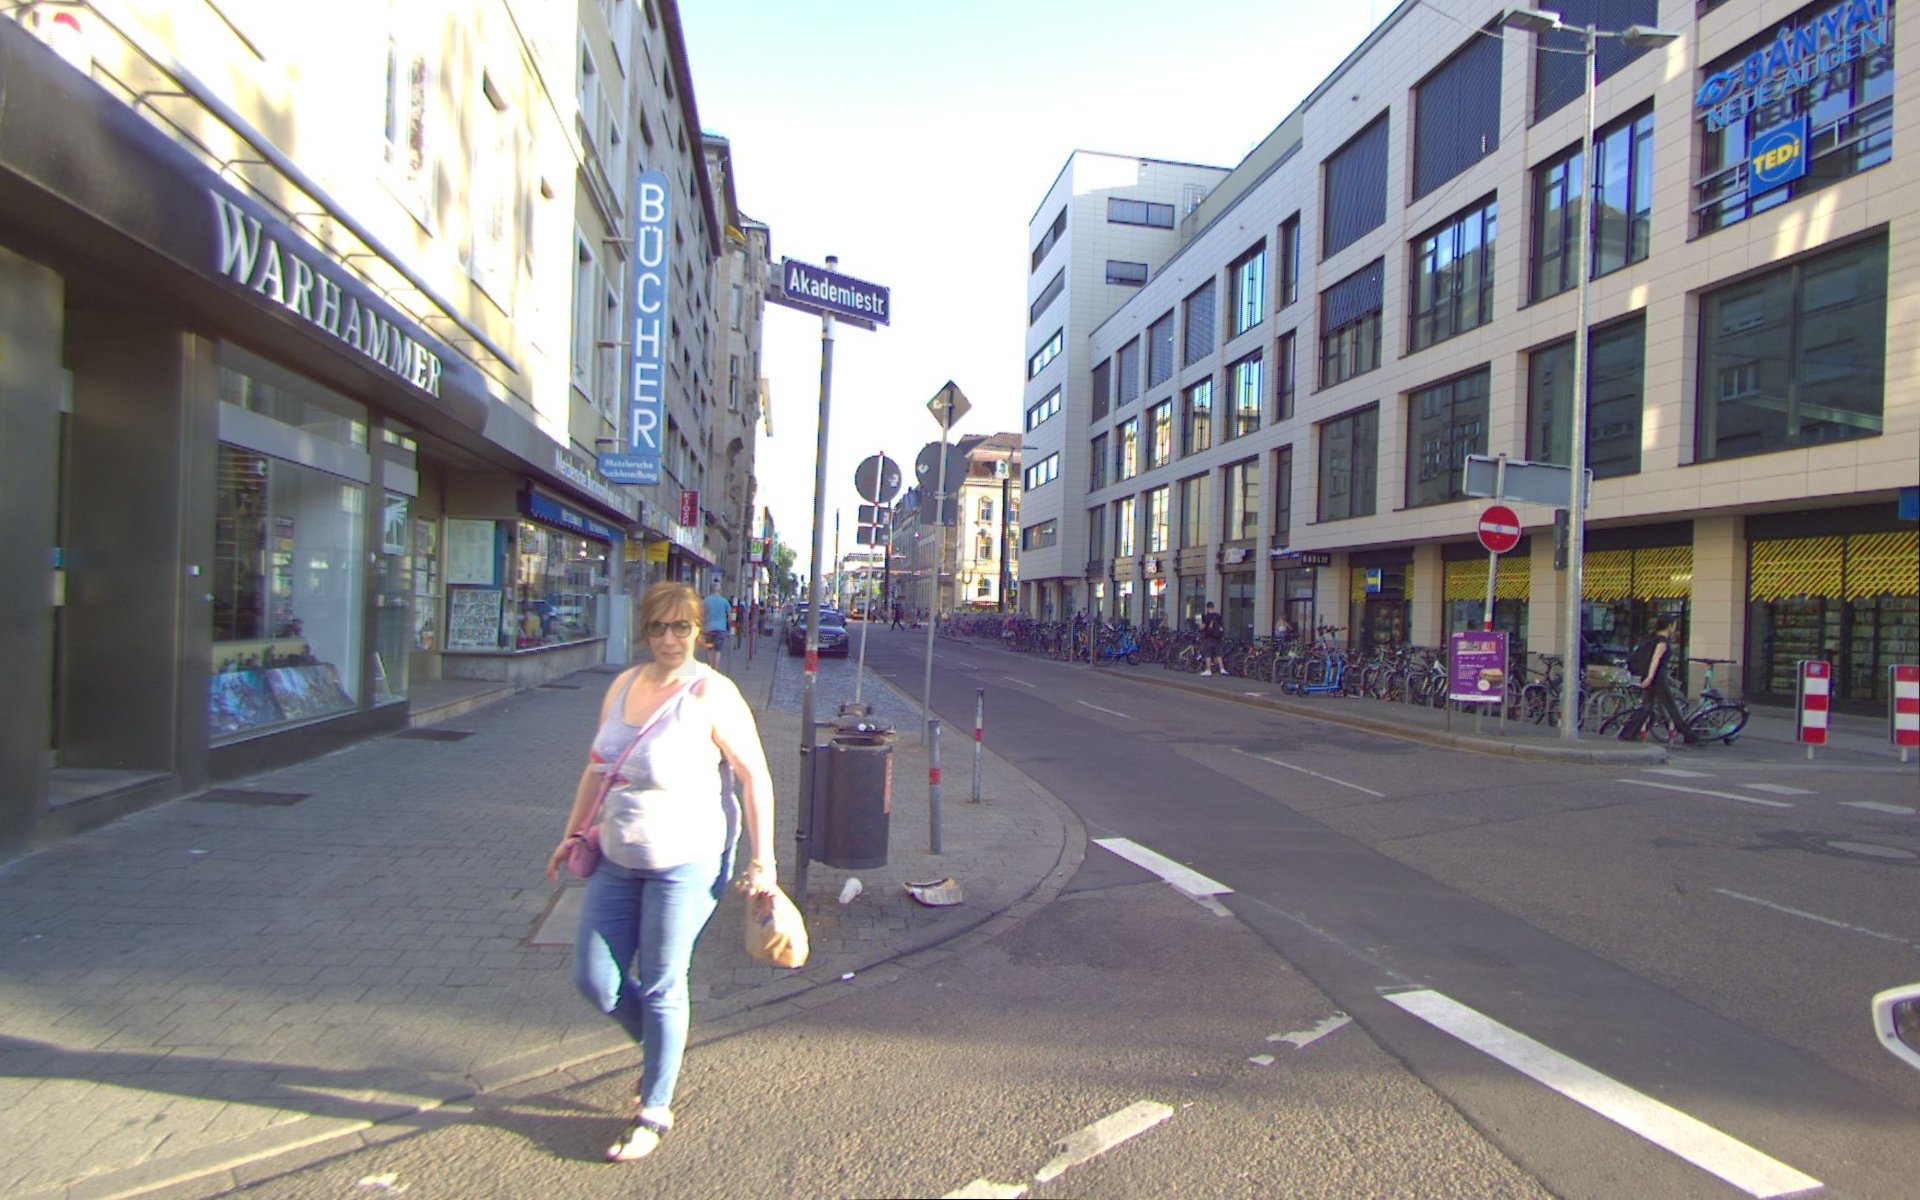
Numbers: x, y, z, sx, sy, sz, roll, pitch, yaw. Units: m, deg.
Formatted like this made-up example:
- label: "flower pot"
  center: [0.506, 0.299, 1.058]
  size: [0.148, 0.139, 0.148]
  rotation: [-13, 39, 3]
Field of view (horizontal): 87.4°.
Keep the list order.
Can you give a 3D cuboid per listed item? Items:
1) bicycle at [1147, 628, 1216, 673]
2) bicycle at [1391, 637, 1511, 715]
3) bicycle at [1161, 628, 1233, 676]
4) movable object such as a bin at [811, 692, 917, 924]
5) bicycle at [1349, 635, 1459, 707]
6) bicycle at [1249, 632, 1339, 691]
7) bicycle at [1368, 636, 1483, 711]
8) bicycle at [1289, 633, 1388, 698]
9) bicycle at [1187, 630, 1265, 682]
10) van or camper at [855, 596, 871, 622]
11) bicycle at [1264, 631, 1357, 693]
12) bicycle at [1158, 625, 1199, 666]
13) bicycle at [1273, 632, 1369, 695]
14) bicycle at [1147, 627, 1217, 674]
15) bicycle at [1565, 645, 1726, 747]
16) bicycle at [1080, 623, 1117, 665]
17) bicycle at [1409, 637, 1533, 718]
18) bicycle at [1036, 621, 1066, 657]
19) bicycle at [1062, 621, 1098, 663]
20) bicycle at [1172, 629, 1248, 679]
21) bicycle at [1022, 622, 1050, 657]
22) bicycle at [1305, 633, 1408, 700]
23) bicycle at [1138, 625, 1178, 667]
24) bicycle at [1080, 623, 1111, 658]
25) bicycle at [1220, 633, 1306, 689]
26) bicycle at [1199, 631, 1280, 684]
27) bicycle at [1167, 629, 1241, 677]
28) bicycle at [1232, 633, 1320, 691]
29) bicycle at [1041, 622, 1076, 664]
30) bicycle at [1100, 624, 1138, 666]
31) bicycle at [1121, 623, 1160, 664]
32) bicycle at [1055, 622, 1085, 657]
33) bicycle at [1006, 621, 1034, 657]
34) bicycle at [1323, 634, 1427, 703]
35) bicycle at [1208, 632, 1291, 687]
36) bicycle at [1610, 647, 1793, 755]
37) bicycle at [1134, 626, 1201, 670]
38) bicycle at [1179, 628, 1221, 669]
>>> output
- label: "bicycle"
  center: [6.727, 1.532, 30.499]
  size: [1.944, 1.271, 0.512]
  rotation: [3, 0, -12]
- label: "bicycle"
  center: [8.580, 1.330, 17.574]
  size: [1.944, 1.271, 0.512]
  rotation: [3, 0, -12]
- label: "bicycle"
  center: [6.857, 1.501, 29.057]
  size: [1.944, 1.271, 0.512]
  rotation: [3, 0, -12]
- label: "movable object such as a bin"
  center: [-0.484, 1.025, 5.086]
  size: [0.354, 1.077, 0.355]
  rotation: [2, -1, 38]
- label: "bicycle"
  center: [8.416, 1.348, 19.049]
  size: [1.944, 1.271, 0.512]
  rotation: [3, 0, -12]
- label: "bicycle"
  center: [7.709, 1.420, 23.192]
  size: [1.944, 1.271, 0.512]
  rotation: [3, 0, -12]
- label: "bicycle"
  center: [8.476, 1.338, 18.283]
  size: [1.944, 1.271, 0.512]
  rotation: [3, 0, -12]
- label: "bicycle"
  center: [8.006, 1.384, 21.260]
  size: [1.944, 1.271, 0.512]
  rotation: [3, 0, -12]
- label: "bicycle"
  center: [7.069, 1.487, 26.739]
  size: [1.944, 1.271, 0.512]
  rotation: [3, 0, -12]
- label: "van or camper"
  center: [-12.990, 1.231, 134.960]
  size: [1.962, 3.317, 5.160]
  rotation: [2, -1, -4]
- label: "bicycle"
  center: [7.856, 1.390, 22.526]
  size: [1.944, 1.271, 0.512]
  rotation: [3, 0, -12]
- label: "bicycle"
  center: [7.273, 1.505, 33.555]
  size: [0.504, 1.271, 1.974]
  rotation: [3, 0, -12]
- label: "bicycle"
  center: [7.854, 1.383, 21.848]
  size: [1.944, 1.271, 0.512]
  rotation: [3, 0, -12]
- label: "bicycle"
  center: [6.583, 1.495, 29.735]
  size: [1.944, 1.271, 0.512]
  rotation: [3, 0, -12]
- label: "bicycle"
  center: [9.296, 1.299, 13.617]
  size: [2.010, 1.271, 0.581]
  rotation: [3, 0, -14]
- label: "bicycle"
  center: [4.533, 1.418, 33.063]
  size: [0.504, 1.271, 1.974]
  rotation: [3, 0, -12]
- label: "bicycle"
  center: [8.654, 1.309, 17.006]
  size: [1.944, 1.271, 0.512]
  rotation: [3, 0, -12]
- label: "bicycle"
  center: [3.492, 1.489, 38.620]
  size: [0.504, 1.271, 1.974]
  rotation: [3, 0, -12]
- label: "bicycle"
  center: [3.909, 1.359, 32.891]
  size: [0.504, 1.271, 1.974]
  rotation: [3, 0, -12]
- label: "bicycle"
  center: [6.844, 1.484, 27.455]
  size: [1.944, 1.271, 0.512]
  rotation: [3, 0, -12]
- label: "bicycle"
  center: [2.897, 1.498, 38.471]
  size: [0.504, 1.271, 1.974]
  rotation: [3, 0, -12]
- label: "bicycle"
  center: [8.077, 1.352, 20.476]
  size: [1.944, 1.271, 0.512]
  rotation: [3, 0, -12]
- label: "bicycle"
  center: [6.586, 1.511, 33.483]
  size: [0.504, 1.271, 1.974]
  rotation: [3, 0, -12]
- label: "bicycle"
  center: [5.231, 1.567, 39.005]
  size: [0.504, 1.271, 1.974]
  rotation: [3, 0, -12]
- label: "bicycle"
  center: [7.387, 1.480, 24.497]
  size: [1.944, 1.271, 0.512]
  rotation: [3, 0, -12]
- label: "bicycle"
  center: [7.214, 1.486, 25.924]
  size: [1.944, 1.271, 0.512]
  rotation: [3, 0, -12]
- label: "bicycle"
  center: [6.850, 1.493, 28.248]
  size: [1.944, 1.271, 0.512]
  rotation: [3, 0, -12]
- label: "bicycle"
  center: [7.516, 1.480, 23.910]
  size: [1.944, 1.271, 0.512]
  rotation: [3, 0, -12]
- label: "bicycle"
  center: [3.179, 1.378, 32.719]
  size: [0.504, 1.271, 1.974]
  rotation: [3, 0, -12]
- label: "bicycle"
  center: [5.237, 1.477, 33.178]
  size: [0.504, 1.271, 1.974]
  rotation: [3, 0, -12]
- label: "bicycle"
  center: [5.976, 1.424, 33.325]
  size: [0.504, 1.271, 1.974]
  rotation: [3, 0, -12]
- label: "bicycle"
  center: [4.237, 1.519, 38.875]
  size: [0.504, 1.271, 1.974]
  rotation: [3, 0, -12]
- label: "bicycle"
  center: [2.278, 1.466, 38.300]
  size: [0.504, 1.271, 1.974]
  rotation: [3, 0, -12]
- label: "bicycle"
  center: [8.203, 1.352, 19.858]
  size: [1.945, 1.271, 0.512]
  rotation: [3, 0, -14]
- label: "bicycle"
  center: [7.231, 1.478, 25.108]
  size: [1.944, 1.271, 0.512]
  rotation: [3, 0, -12]
- label: "bicycle"
  center: [9.502, 1.289, 12.877]
  size: [2.105, 1.271, 0.664]
  rotation: [3, 0, -14]
- label: "bicycle"
  center: [6.480, 1.499, 31.387]
  size: [1.944, 1.271, 0.512]
  rotation: [3, 0, -12]
- label: "bicycle"
  center: [8.003, 1.601, 33.568]
  size: [0.504, 1.271, 1.974]
  rotation: [3, 0, -12]
